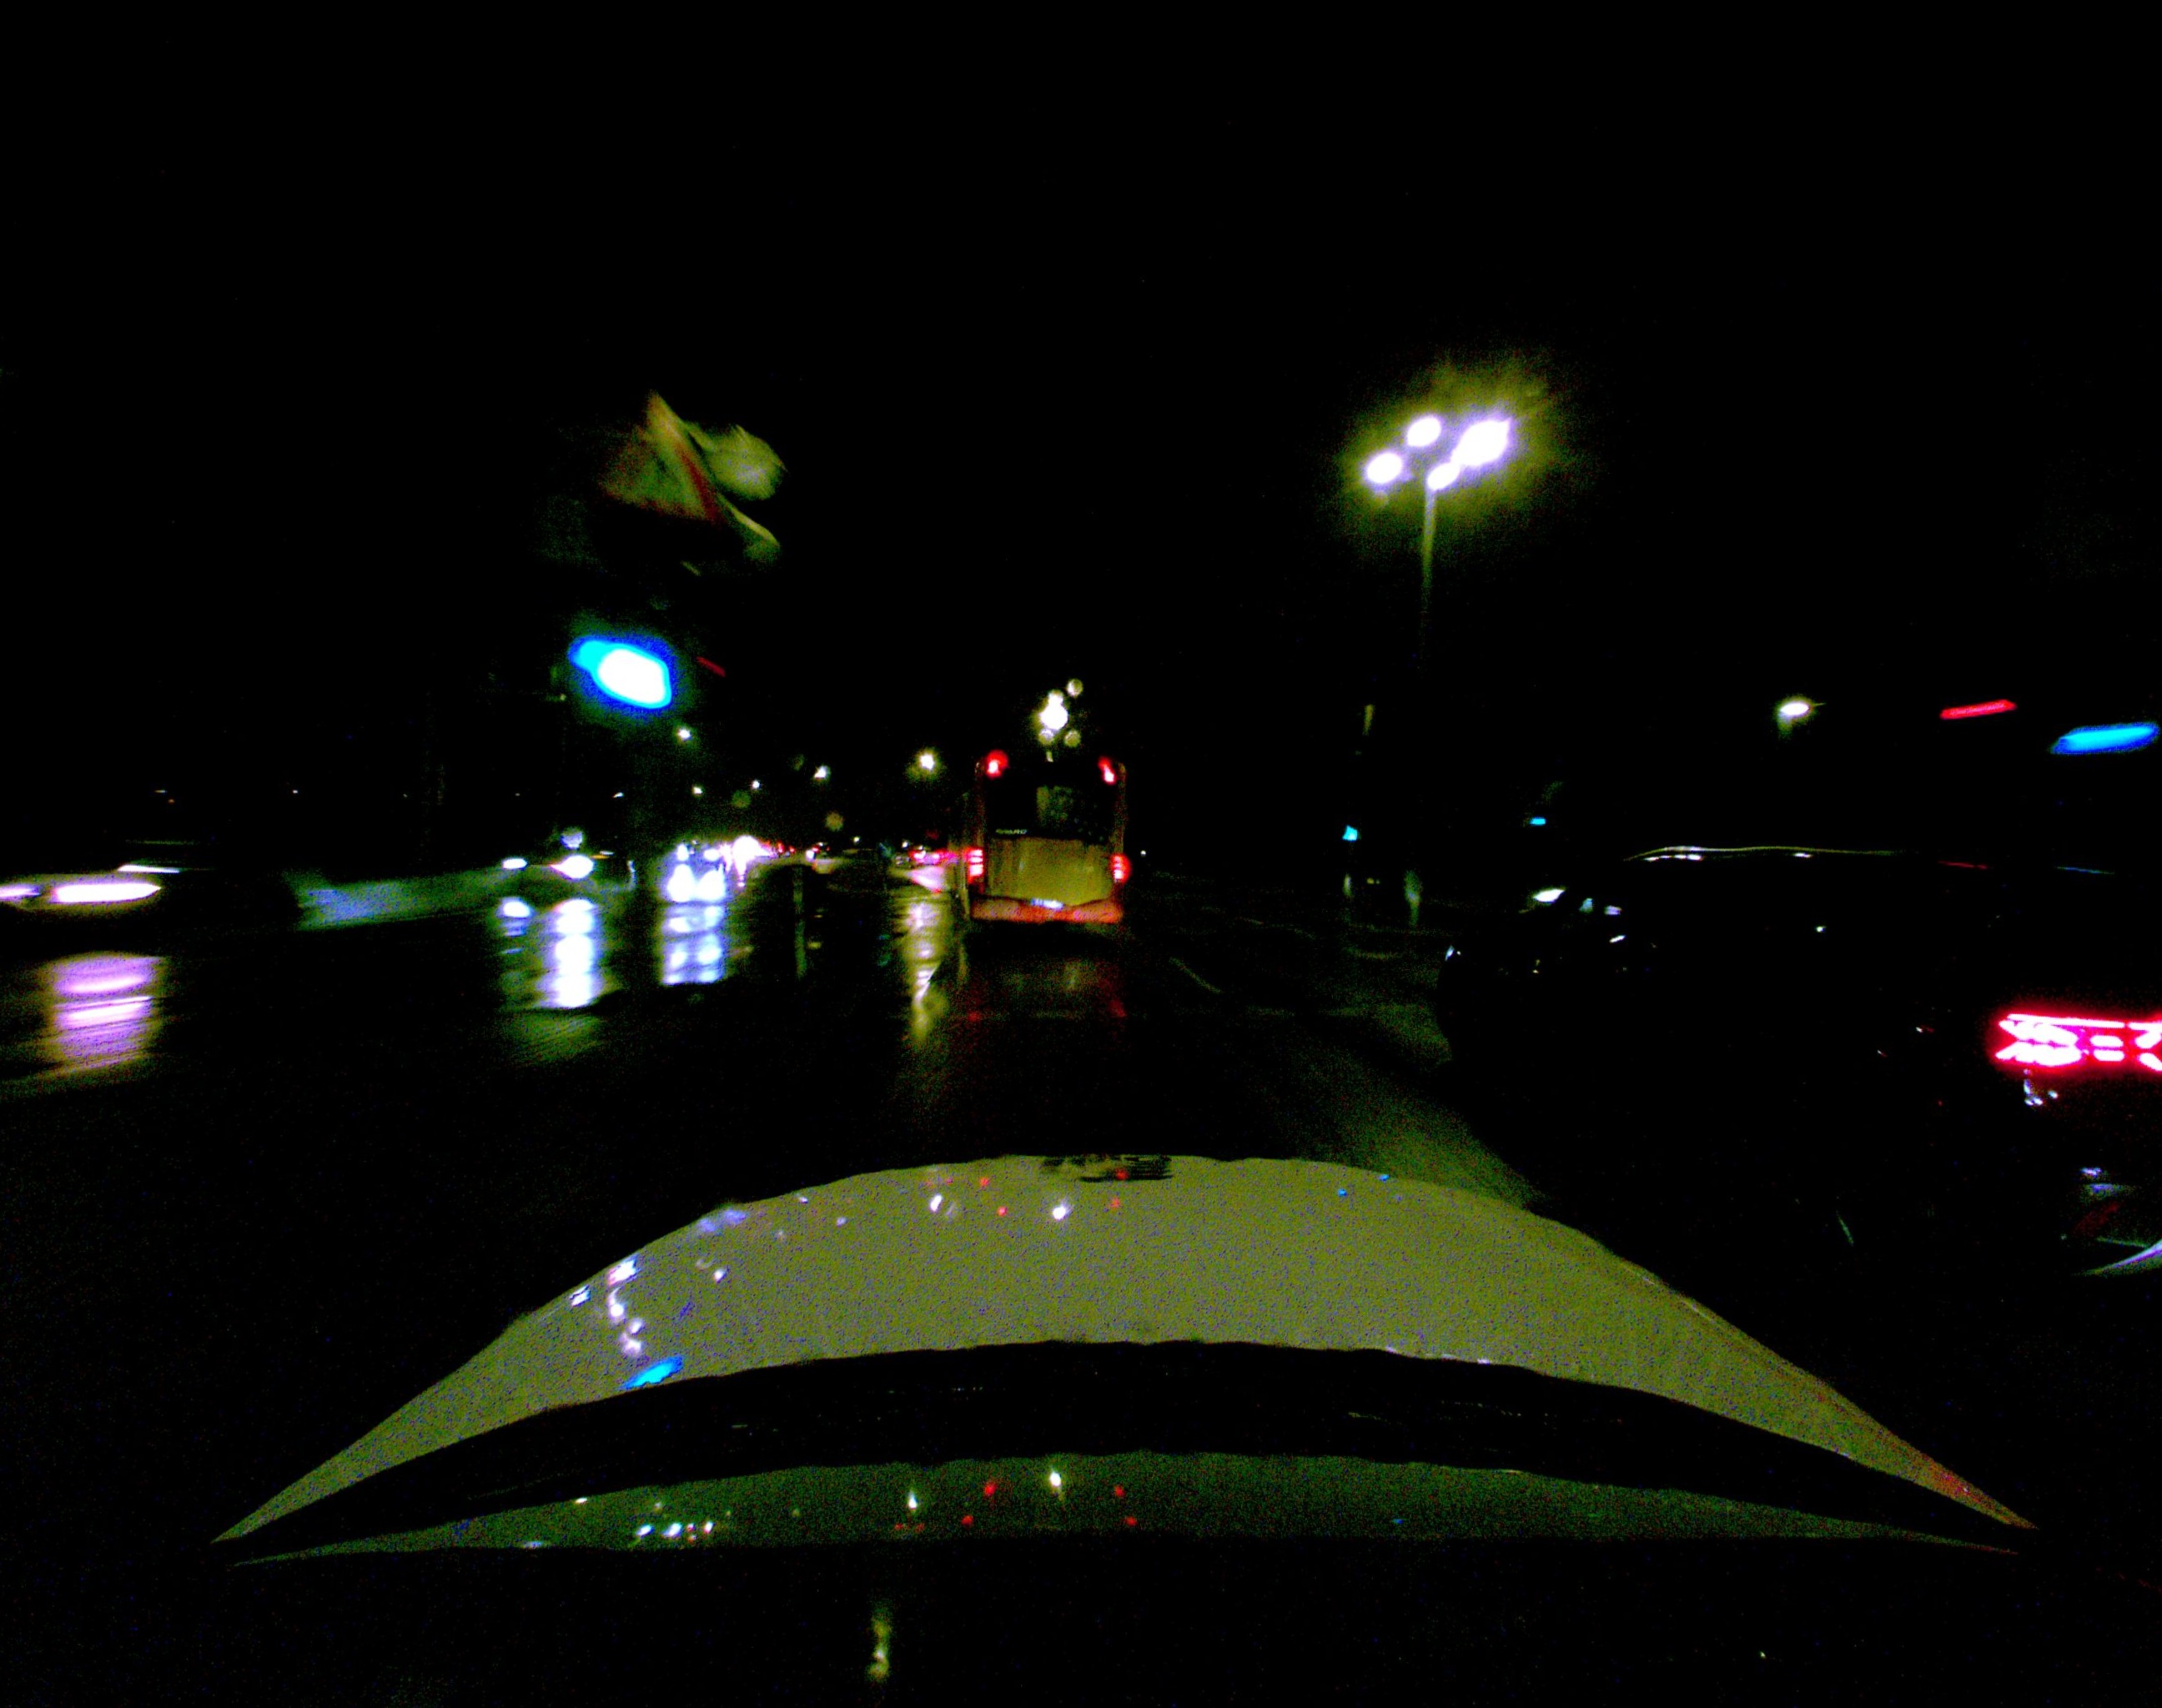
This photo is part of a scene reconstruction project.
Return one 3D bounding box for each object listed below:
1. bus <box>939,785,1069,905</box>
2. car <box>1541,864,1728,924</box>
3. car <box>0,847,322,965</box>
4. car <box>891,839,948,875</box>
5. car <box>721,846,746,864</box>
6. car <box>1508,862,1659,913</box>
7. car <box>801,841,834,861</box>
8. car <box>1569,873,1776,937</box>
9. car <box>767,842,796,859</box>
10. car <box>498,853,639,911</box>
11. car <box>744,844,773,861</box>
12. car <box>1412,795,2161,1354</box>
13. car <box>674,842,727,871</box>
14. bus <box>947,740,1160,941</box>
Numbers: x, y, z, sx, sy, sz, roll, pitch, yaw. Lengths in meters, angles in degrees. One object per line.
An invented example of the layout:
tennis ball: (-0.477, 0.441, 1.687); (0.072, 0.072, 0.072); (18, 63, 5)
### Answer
bus: (-2.811, -0.311, 26.426); (3.248, 3.120, 8.614); (3, 1, -11)
car: (16.975, 1.200, 25.141); (4.466, 1.519, 1.858); (2, 1, 1)
car: (-13.391, 0.640, 11.880); (1.563, 1.433, 3.487); (2, 0, -6)
car: (-9.730, 0.163, 48.900); (2.006, 2.014, 4.307); (3, -1, -30)
car: (-30.306, 0.063, 71.090); (1.831, 1.448, 4.625); (3, -1, -23)
car: (17.685, 1.160, 28.794); (4.148, 1.519, 1.858); (2, 1, 1)
car: (-22.923, -0.268, 70.715); (1.827, 1.618, 3.961); (3, -1, -31)
car: (15.179, 1.292, 21.067); (4.027, 1.345, 1.748); (2, 1, 1)
car: (-30.901, -0.335, 84.039); (1.829, 1.618, 3.958); (3, -1, -34)
car: (-14.869, 0.746, 23.949); (1.778, 1.460, 4.465); (2, 0, -8)
car: (-36.874, -0.198, 93.047); (2.104, 1.644, 3.690); (6, -2, -36)
car: (3.479, 0.665, 4.268); (1.673, 1.521, 3.955); (2, -1, -3)
car: (-19.030, 0.114, 40.882); (1.811, 1.353, 4.119); (2, 0, -17)
bus: (-1.136, -0.220, 17.441); (3.284, 3.050, 9.514); (2, 0, -9)
